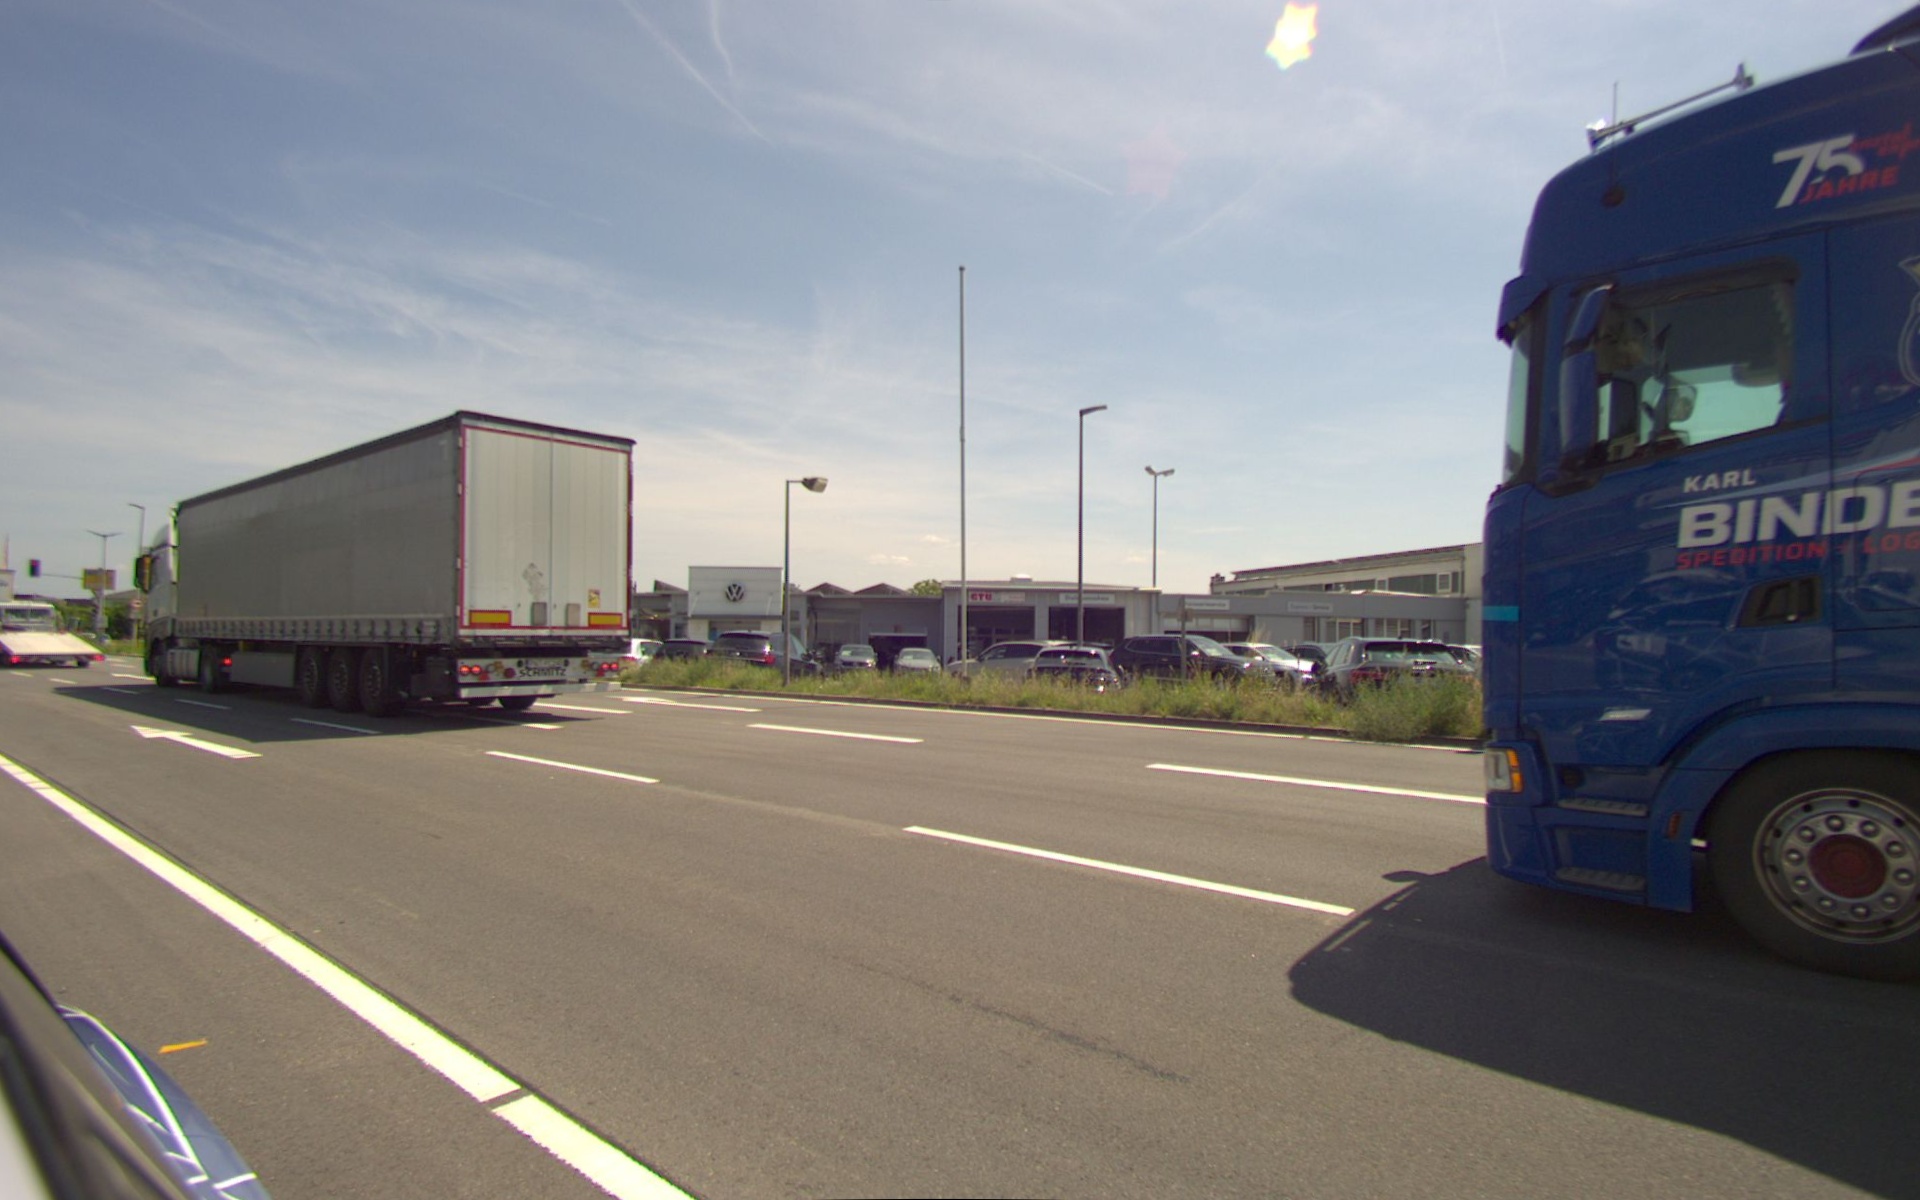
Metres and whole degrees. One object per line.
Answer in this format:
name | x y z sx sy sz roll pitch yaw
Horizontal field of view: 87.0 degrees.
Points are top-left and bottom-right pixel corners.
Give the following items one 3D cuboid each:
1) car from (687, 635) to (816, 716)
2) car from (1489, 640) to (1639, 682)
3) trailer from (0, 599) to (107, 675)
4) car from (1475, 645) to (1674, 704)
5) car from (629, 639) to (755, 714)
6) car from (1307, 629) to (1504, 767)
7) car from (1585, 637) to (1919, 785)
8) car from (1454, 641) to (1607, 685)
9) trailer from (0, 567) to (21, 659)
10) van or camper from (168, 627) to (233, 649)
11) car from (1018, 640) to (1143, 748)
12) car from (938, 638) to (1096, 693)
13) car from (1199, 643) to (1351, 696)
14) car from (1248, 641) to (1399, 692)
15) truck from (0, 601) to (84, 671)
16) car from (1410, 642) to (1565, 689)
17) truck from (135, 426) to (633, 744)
car | -4.746 1.699 23.586 1.779 1.699 3.859 0 -3 7
car | 20.007 1.987 33.692 1.635 1.293 4.012 1 -2 -29
trailer | -31.424 1.264 34.574 6.894 2.356 2.402 -1 -4 42
car | 15.604 1.841 25.888 1.636 1.293 4.010 0 -1 -34
car | -6.745 1.891 25.922 1.779 1.763 3.859 0 -3 7
car | 6.365 1.300 14.941 1.981 1.697 3.981 -1 -1 14
car | 9.508 1.218 12.462 1.764 1.466 4.243 0 -2 13
car | 18.209 1.975 32.494 1.635 1.293 4.012 1 -2 -29
trailer | -49.390 0.665 49.985 10.048 4.320 2.981 -1 -3 39
van or camper | -84.278 4.241 112.370 2.092 2.431 5.405 -1 -3 34
car | 2.358 1.650 18.894 1.812 1.697 3.981 -1 -1 14
car | 1.675 1.923 30.546 4.451 1.475 1.975 -1 -2 37
car | 8.753 1.889 28.434 1.635 1.293 4.012 0 -1 -31
car | 10.554 1.901 29.664 1.635 1.293 4.012 0 -1 -31
truck | -34.195 1.340 37.035 5.672 2.358 2.399 -2 -5 42
car | 16.149 1.959 31.197 1.635 1.293 4.013 1 -2 -27
truck | -11.821 -0.087 18.912 16.473 3.918 2.761 -1 -1 41
